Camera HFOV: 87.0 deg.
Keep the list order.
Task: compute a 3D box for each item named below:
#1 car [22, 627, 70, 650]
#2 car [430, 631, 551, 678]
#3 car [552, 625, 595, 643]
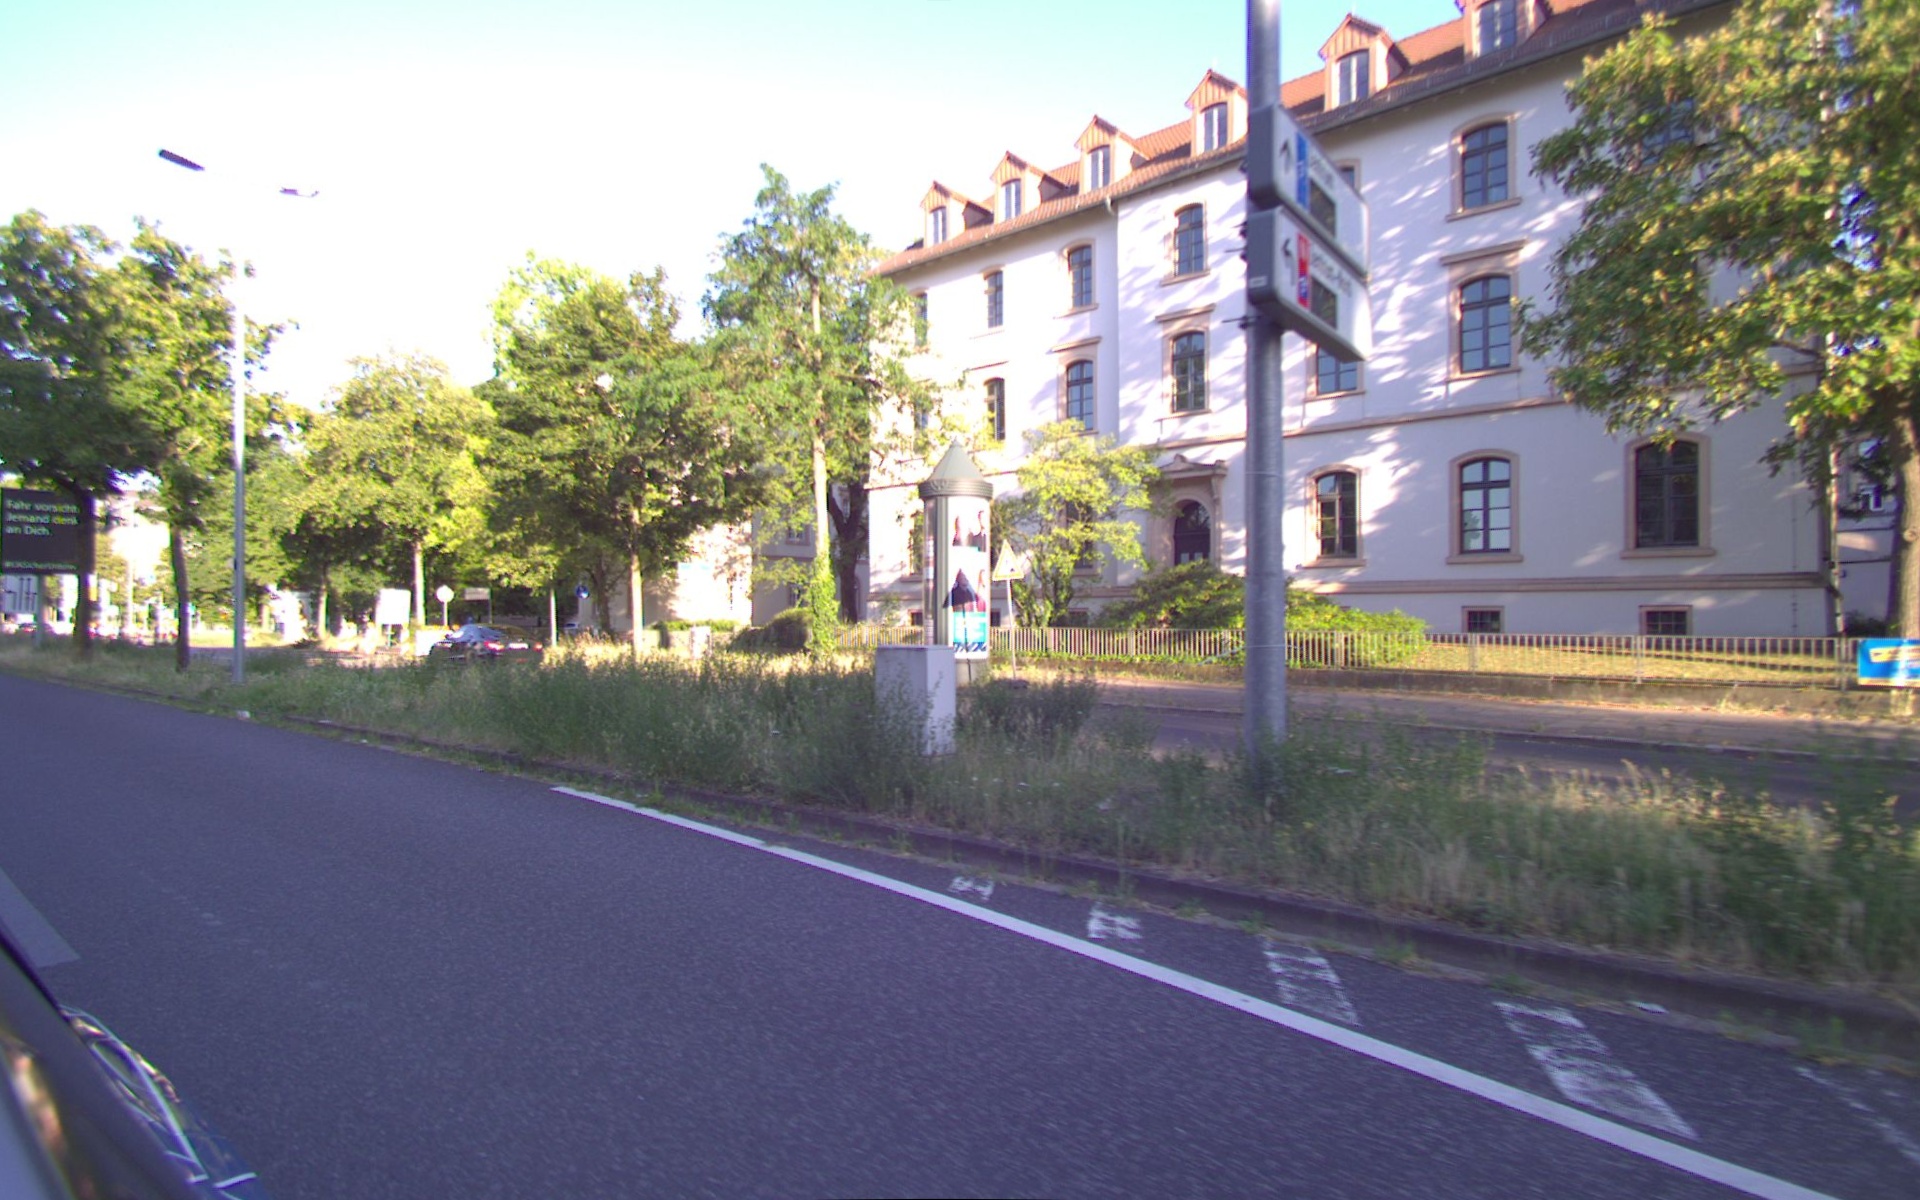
[{"bbox_3d":[-59.555,2.495,65.934,4.005,1.428,1.755,-1,-5,41],"label":"car"},{"bbox_3d":[-14.078,1.622,30.248,4.005,1.283,1.755,-1,-5,41],"label":"car"},{"bbox_3d":[-32.825,2.849,85.871,3.997,1.386,1.677,-1,0,41],"label":"car"}]
